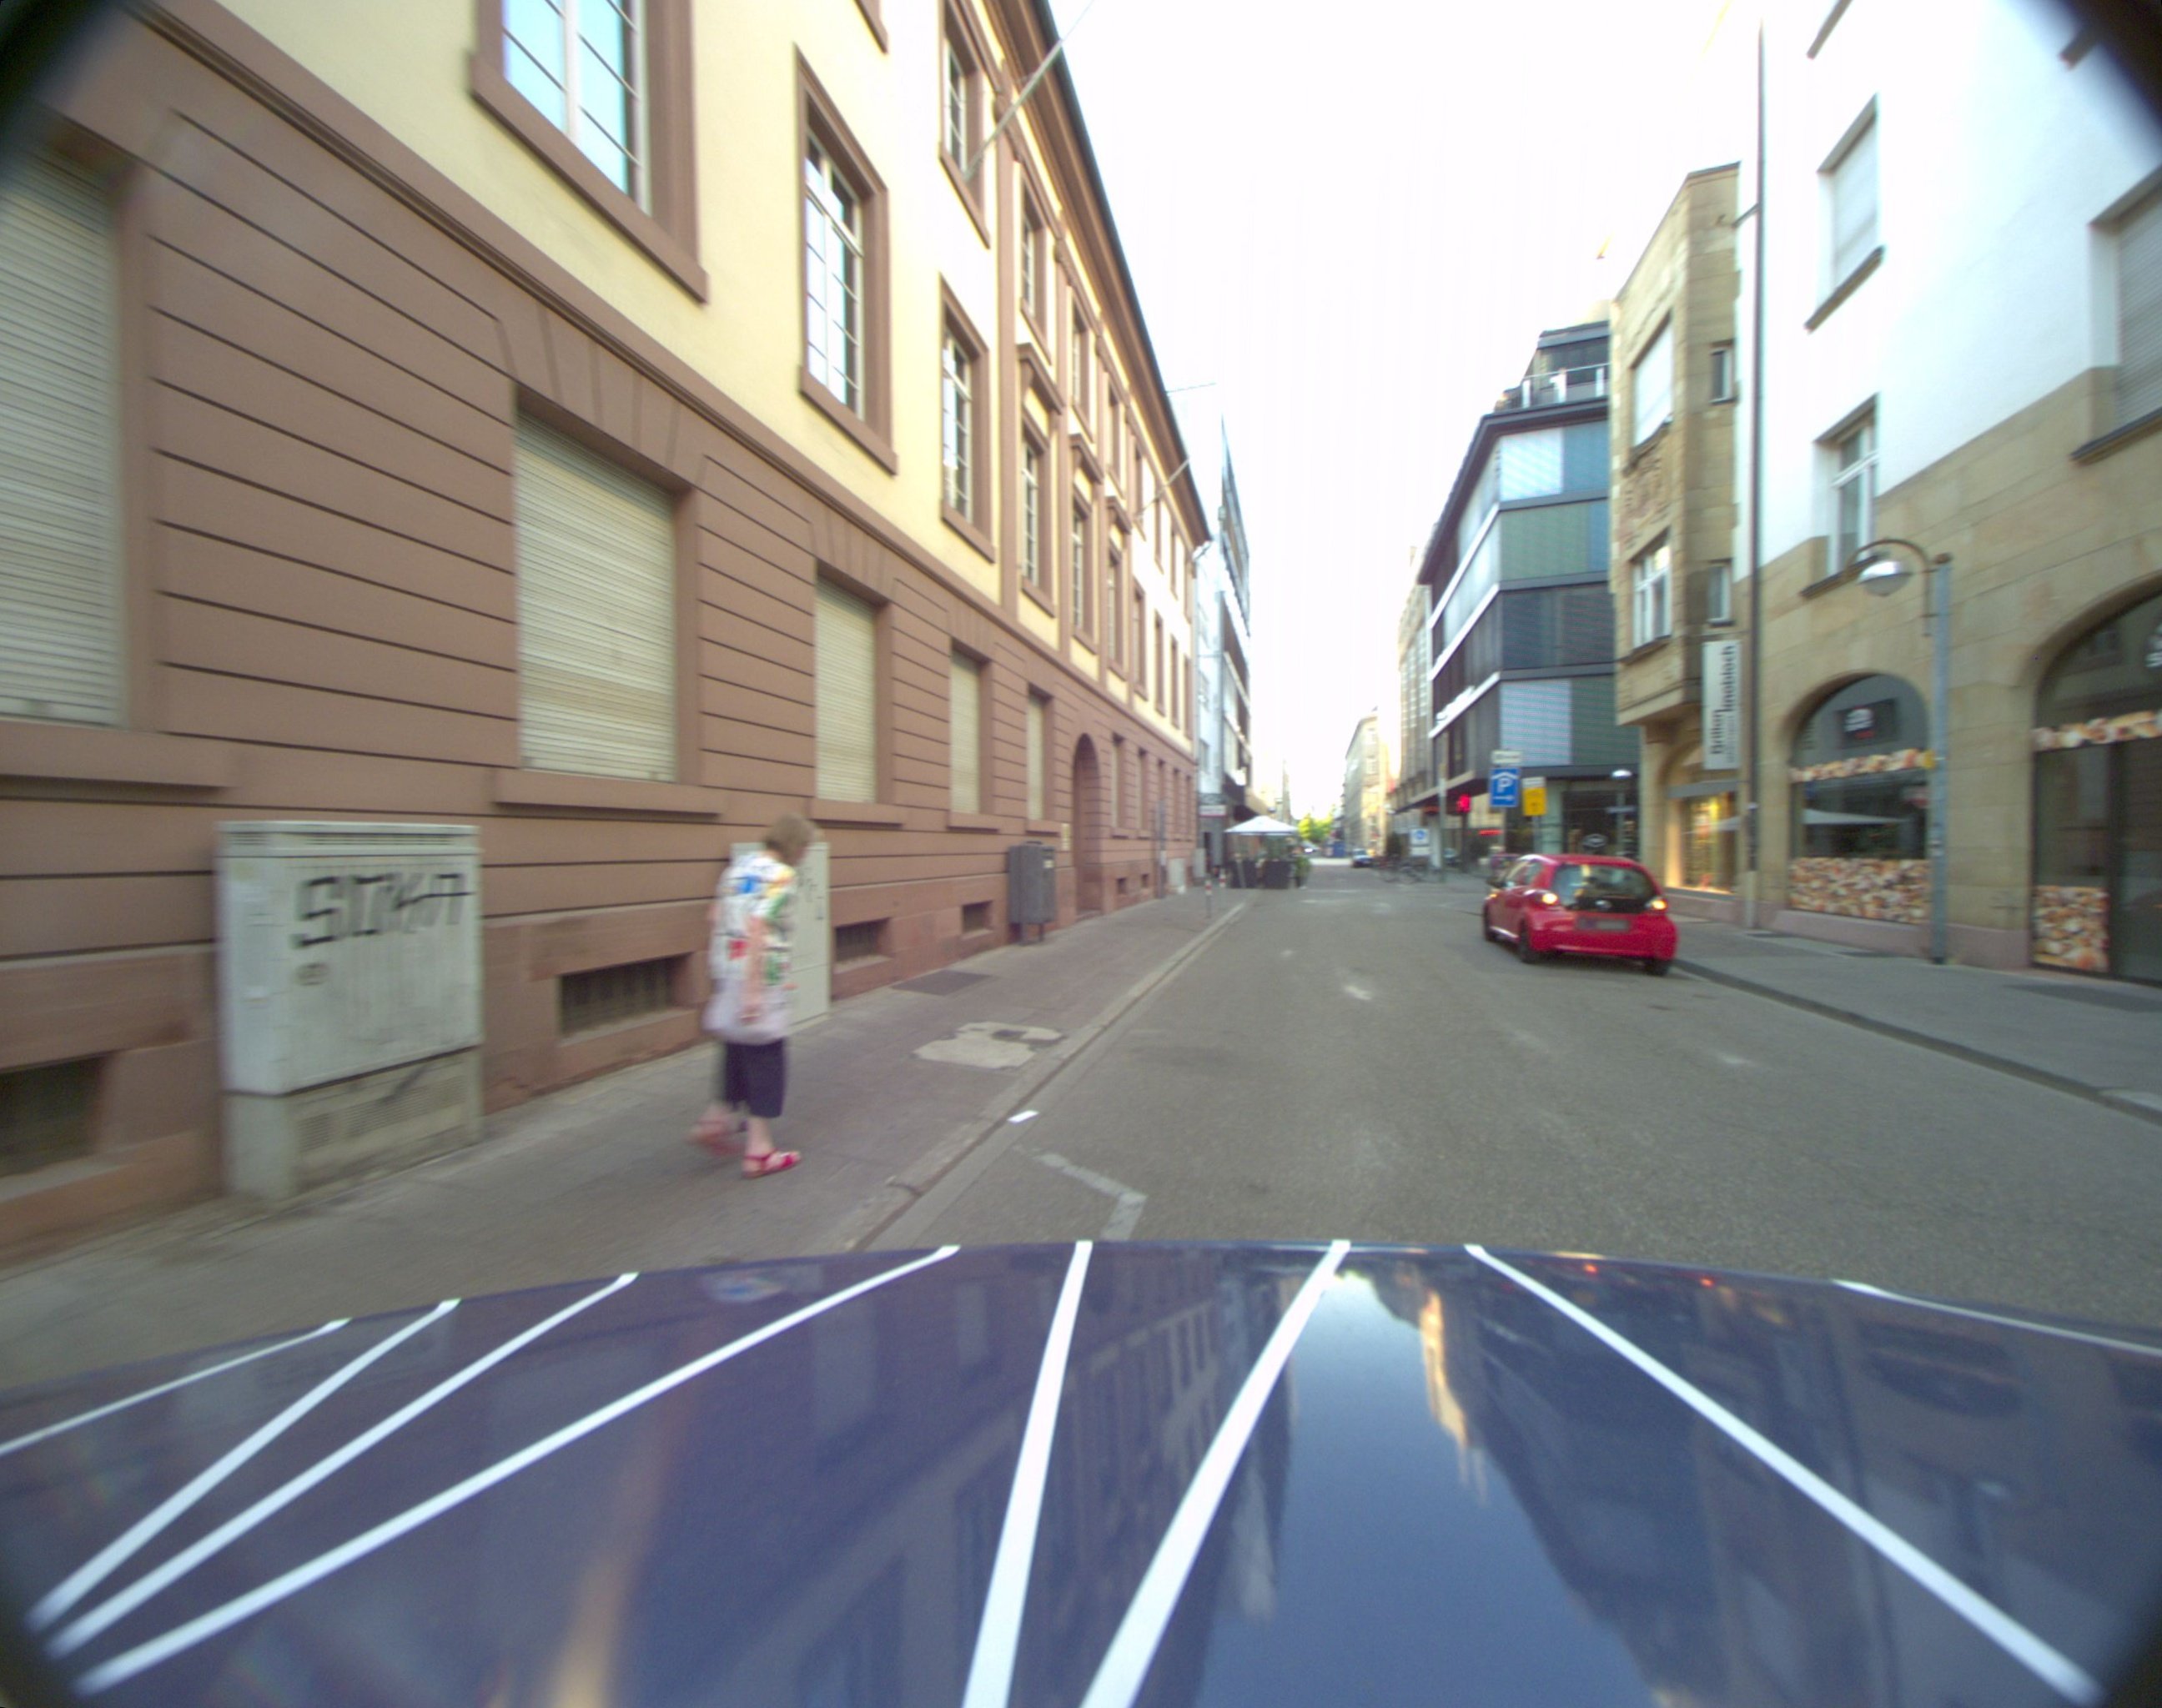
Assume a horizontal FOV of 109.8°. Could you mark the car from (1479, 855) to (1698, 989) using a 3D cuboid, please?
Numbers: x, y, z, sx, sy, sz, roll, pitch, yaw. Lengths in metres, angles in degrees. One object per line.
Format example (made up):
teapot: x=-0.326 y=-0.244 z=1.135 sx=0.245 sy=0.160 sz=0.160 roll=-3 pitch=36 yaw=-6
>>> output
car: x=6.806 y=0.795 z=10.579 sx=1.635 sy=1.433 sz=3.160 roll=3 pitch=2 yaw=17

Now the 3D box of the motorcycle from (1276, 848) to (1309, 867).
motorcycle: x=14.738 y=0.213 z=52.938 sx=2.190 sy=1.275 sz=0.652 roll=1 pitch=2 yaw=18

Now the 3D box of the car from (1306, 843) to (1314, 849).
car: x=42.634 y=-1.529 z=141.388 sx=1.424 sy=1.090 sz=3.567 roll=-1 pitch=1 yaw=16

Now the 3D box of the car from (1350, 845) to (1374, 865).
car: x=21.283 y=0.034 z=57.593 sx=1.424 sy=1.409 sz=3.899 roll=-1 pitch=1 yaw=16

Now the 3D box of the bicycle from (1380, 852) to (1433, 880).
bicycle: x=13.469 y=0.514 z=31.518 sx=1.950 sy=1.124 sz=0.621 roll=-1 pitch=1 yaw=18

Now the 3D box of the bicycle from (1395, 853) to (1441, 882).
bicycle: x=13.317 y=0.528 z=30.033 sx=1.605 sy=1.112 sz=0.621 roll=-1 pitch=1 yaw=18

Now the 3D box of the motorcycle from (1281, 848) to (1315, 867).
motorcycle: x=14.620 y=0.237 z=51.173 sx=2.190 sy=1.275 sz=0.652 roll=1 pitch=2 yaw=18

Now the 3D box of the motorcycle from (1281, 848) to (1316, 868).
motorcycle: x=14.388 y=0.253 z=50.235 sx=2.190 sy=1.275 sz=0.652 roll=1 pitch=2 yaw=18

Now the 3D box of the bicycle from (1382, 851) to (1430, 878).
bicycle: x=14.547 y=0.472 z=34.046 sx=1.950 sy=1.124 sz=0.527 roll=-1 pitch=1 yaw=18

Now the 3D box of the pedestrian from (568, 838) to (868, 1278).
pedestrian: x=-1.613 y=0.765 z=3.464 sx=0.810 sy=1.662 sz=0.932 roll=1 pitch=2 yaw=32
